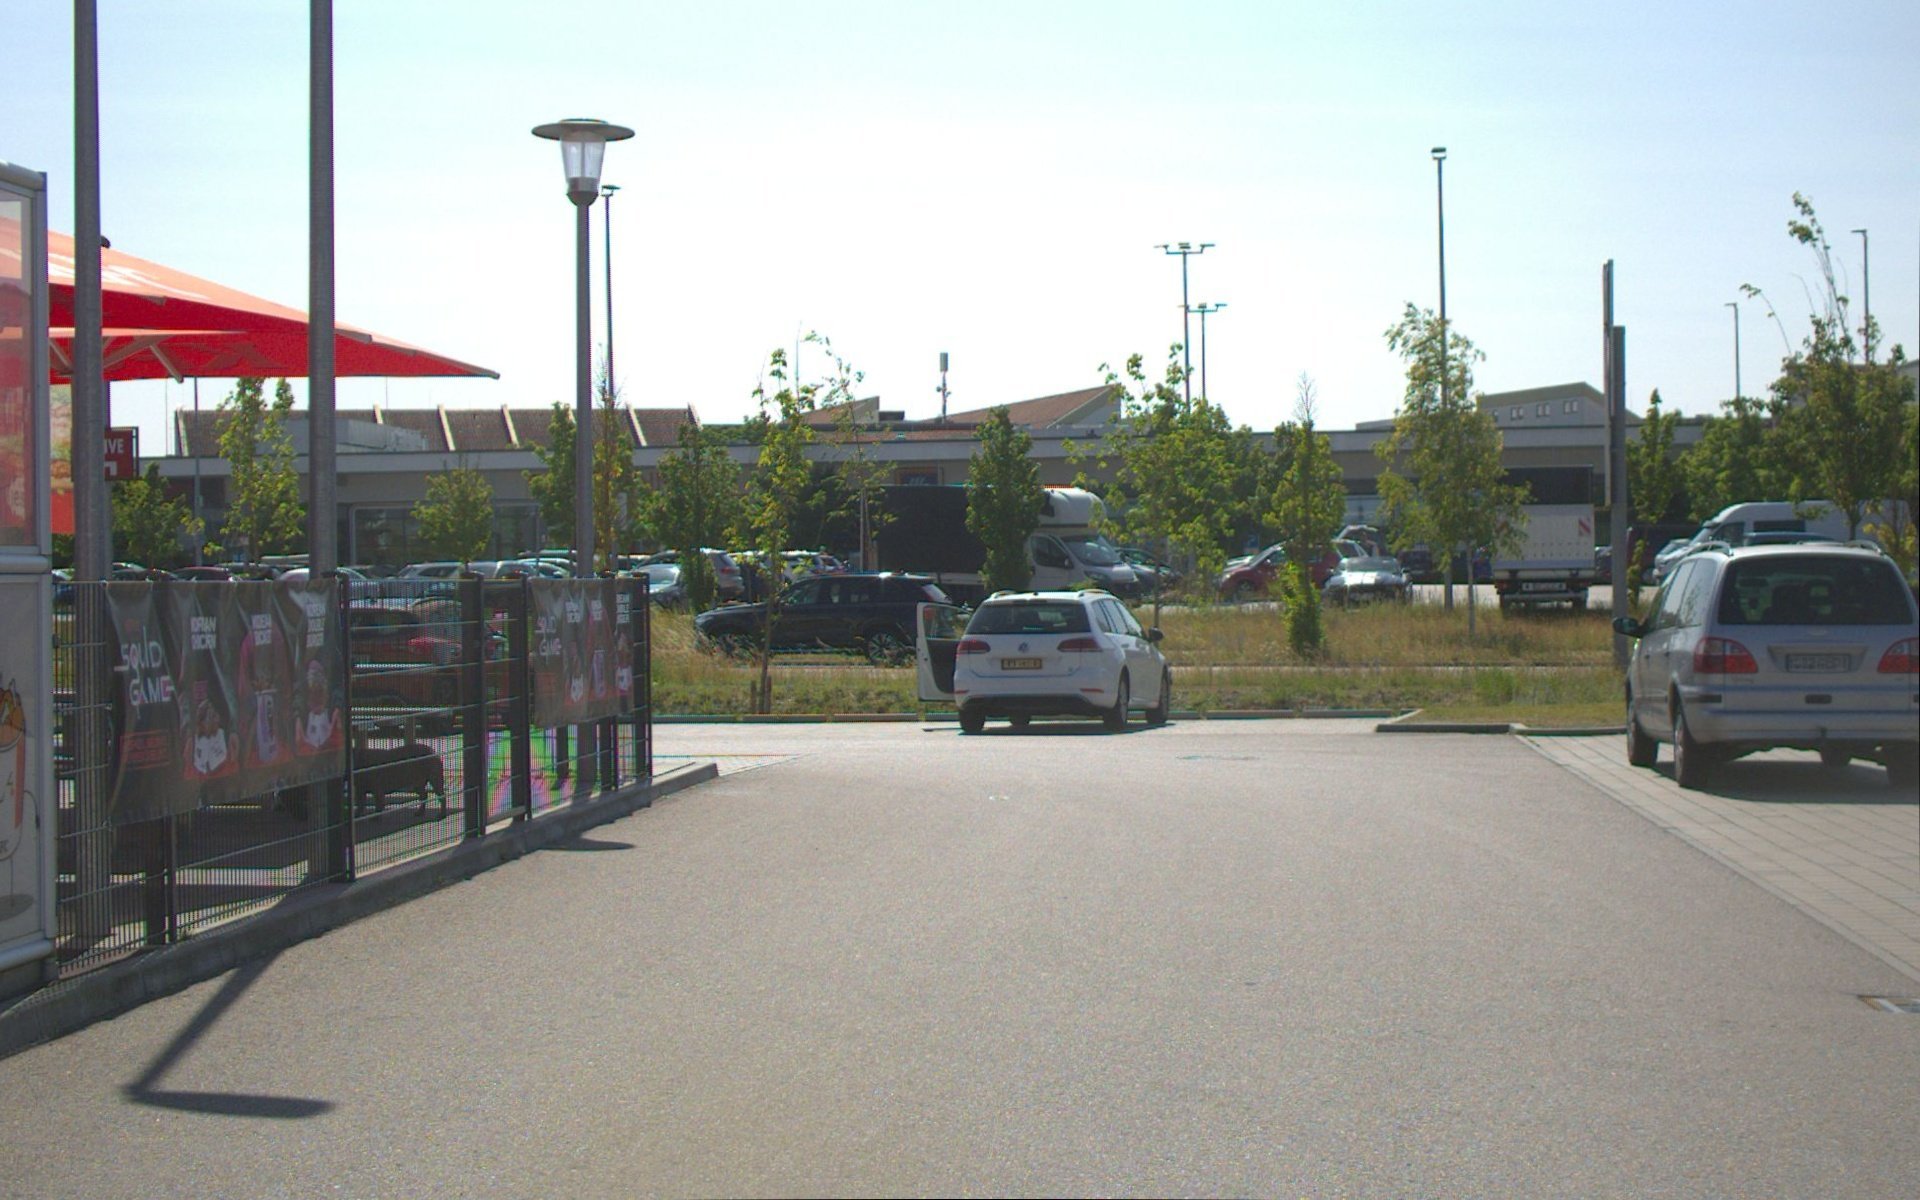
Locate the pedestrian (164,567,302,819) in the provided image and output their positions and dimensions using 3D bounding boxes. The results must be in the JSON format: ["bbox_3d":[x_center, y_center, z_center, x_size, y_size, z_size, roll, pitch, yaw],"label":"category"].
[{"bbox_3d":[-3.773,0.466,17.854,0.683,1.269,0.842,0,1,-12],"label":"pedestrian"}]

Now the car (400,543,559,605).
[{"bbox_3d":[-14.357,-0.781,102.918,4.391,1.849,1.955,0,1,5],"label":"car"}]

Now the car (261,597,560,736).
[{"bbox_3d":[-6.096,0.732,38.648,1.828,1.464,4.350,-1,-1,13],"label":"car"}]

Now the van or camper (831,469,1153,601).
[{"bbox_3d":[0.708,-1.566,83.757,8.047,3.091,2.414,1,1,38],"label":"van or camper"}]

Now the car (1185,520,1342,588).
[{"bbox_3d":[8.376,-1.279,95.040,4.254,1.849,1.870,0,1,5],"label":"car"}]

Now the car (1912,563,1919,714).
[{"bbox_3d":[11.741,0.393,33.599,1.970,1.521,4.331,-1,1,-41],"label":"car"}]

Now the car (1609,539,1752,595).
[{"bbox_3d":[23.881,-1.100,114.059,4.391,1.849,1.955,0,1,5],"label":"car"}]

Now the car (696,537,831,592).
[{"bbox_3d":[-6.727,-1.217,118.038,4.391,1.849,1.955,0,1,5],"label":"car"}]

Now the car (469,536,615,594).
[{"bbox_3d":[-13.486,-1.149,111.088,4.391,1.849,1.955,0,1,5],"label":"car"}]

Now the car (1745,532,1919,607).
[{"bbox_3d":[22.178,-0.775,86.696,4.391,1.849,1.955,0,1,5],"label":"car"}]

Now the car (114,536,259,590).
[{"bbox_3d":[-26.951,-1.285,119.911,4.559,1.849,1.955,0,1,5],"label":"car"}]

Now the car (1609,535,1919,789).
[{"bbox_3d":[6.143,0.412,26.105,1.827,1.742,4.683,0,0,4],"label":"car"}]

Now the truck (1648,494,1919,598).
[{"bbox_3d":[22.602,-1.490,94.574,7.036,2.805,1.955,0,1,5],"label":"truck"}]

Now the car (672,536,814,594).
[{"bbox_3d":[-7.066,-1.146,112.080,4.391,1.849,1.955,0,1,5],"label":"car"}]

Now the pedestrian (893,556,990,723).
[{"bbox_3d":[-0.200,0.435,37.582,0.991,1.803,0.726,0,-1,5],"label":"pedestrian"}]

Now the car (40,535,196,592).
[{"bbox_3d":[-27.378,-1.188,111.814,4.559,1.849,1.955,0,1,5],"label":"car"}]

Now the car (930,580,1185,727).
[{"bbox_3d":[1.117,0.563,36.846,1.828,1.464,4.478,-1,-1,14],"label":"car"}]

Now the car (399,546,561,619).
[{"bbox_3d":[-12.356,-0.468,88.789,1.952,1.849,4.398,0,1,28],"label":"car"}]

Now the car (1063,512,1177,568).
[{"bbox_3d":[5.838,-2.183,125.103,3.988,2.007,1.999,0,1,7],"label":"car"}]

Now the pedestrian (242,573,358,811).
[{"bbox_3d":[-3.597,0.490,18.725,0.611,1.269,0.624,0,1,-12],"label":"pedestrian"}]

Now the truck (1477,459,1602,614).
[{"bbox_3d":[13.642,-1.475,80.864,2.760,3.469,6.830,0,1,10],"label":"truck"}]

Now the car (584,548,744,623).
[{"bbox_3d":[-7.422,-0.378,86.588,1.952,1.849,4.398,0,1,28],"label":"car"}]

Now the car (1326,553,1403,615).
[{"bbox_3d":[9.656,-0.396,81.919,1.650,1.454,3.965,0,1,9],"label":"car"}]

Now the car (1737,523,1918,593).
[{"bbox_3d":[23.136,-1.120,91.808,4.391,1.849,1.955,0,1,5],"label":"car"}]

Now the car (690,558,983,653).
[{"bbox_3d":[-2.282,0.087,64.312,5.208,1.725,1.988,0,1,9],"label":"car"}]
